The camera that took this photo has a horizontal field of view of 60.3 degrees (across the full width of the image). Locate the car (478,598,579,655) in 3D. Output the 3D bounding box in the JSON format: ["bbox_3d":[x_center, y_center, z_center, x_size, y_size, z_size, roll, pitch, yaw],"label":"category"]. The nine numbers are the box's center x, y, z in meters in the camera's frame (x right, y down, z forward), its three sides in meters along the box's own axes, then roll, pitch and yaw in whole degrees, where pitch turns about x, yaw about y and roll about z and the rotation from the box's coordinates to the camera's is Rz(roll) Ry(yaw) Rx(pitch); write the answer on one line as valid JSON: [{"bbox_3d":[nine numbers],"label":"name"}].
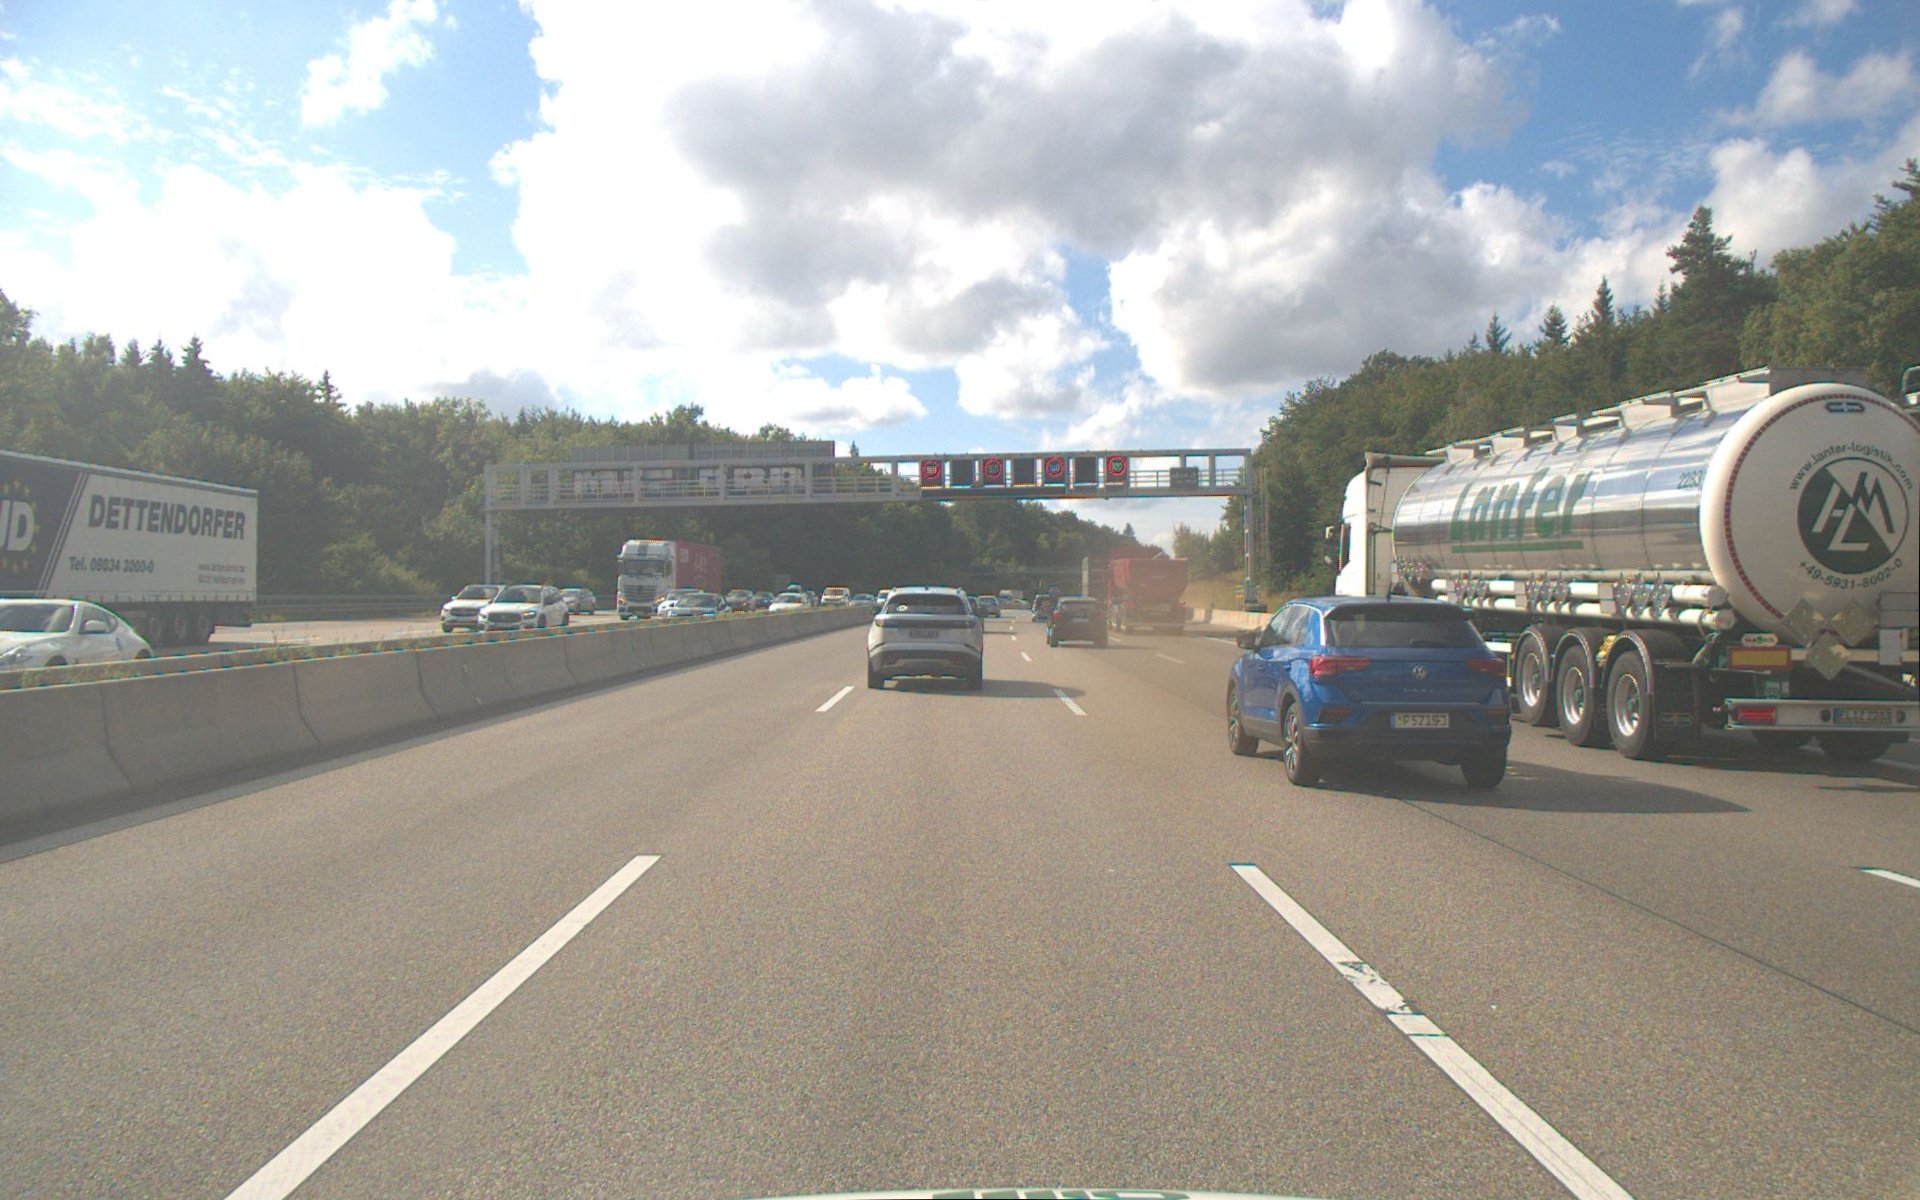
[{"bbox_3d":[-13.098,0.760,50.479,1.673,1.622,4.944,1,0,1],"label":"car"}]

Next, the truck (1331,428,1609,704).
[{"bbox_3d":[7.895,-0.498,26.427,2.594,3.890,6.082,0,0,0],"label":"truck"}]

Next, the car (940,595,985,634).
[{"bbox_3d":[0.127,0.573,68.014,1.785,1.573,4.000,1,0,0],"label":"car"}]

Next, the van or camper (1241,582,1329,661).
[{"bbox_3d":[10.119,0.619,51.824,1.785,2.348,4.938,0,0,0],"label":"van or camper"}]

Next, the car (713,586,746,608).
[{"bbox_3d":[-15.647,-0.193,112.340,1.604,1.440,4.001,1,0,1],"label":"car"}]

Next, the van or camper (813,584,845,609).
[{"bbox_3d":[-10.288,-0.265,130.517,1.823,1.882,5.157,1,0,3],"label":"van or camper"}]

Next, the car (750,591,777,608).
[{"bbox_3d":[-17.663,-0.018,148.572,1.666,1.466,4.708,1,0,2],"label":"car"}]

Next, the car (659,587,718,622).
[{"bbox_3d":[-12.358,0.192,75.568,1.819,1.552,4.995,1,0,0],"label":"car"}]

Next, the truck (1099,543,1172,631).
[{"bbox_3d":[7.909,-0.583,75.084,2.654,3.783,5.817,1,0,0],"label":"truck"}]

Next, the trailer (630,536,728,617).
[{"bbox_3d":[-15.557,-1.226,92.776,2.682,4.178,13.420,1,0,2],"label":"trailer"}]

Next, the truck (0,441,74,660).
[{"bbox_3d":[-19.981,-0.961,31.191,3.250,4.178,6.223,1,0,-2],"label":"truck"}]

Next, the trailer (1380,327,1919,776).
[{"bbox_3d":[7.870,-0.453,20.086,2.594,3.833,11.860,0,0,0],"label":"trailer"}]

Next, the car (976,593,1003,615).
[{"bbox_3d":[2.083,0.286,114.377,1.784,1.483,4.001,1,0,2],"label":"car"}]

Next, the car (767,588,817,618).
[{"bbox_3d":[-8.476,0.135,83.875,1.733,1.467,4.853,1,0,3],"label":"car"}]

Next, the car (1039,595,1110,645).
[{"bbox_3d":[3.524,0.584,51.427,1.785,1.483,3.998,1,0,-2],"label":"car"}]

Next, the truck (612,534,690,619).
[{"bbox_3d":[-15.847,-1.176,85.272,2.682,4.178,5.766,1,0,2],"label":"truck"}]

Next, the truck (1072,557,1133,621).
[{"bbox_3d":[9.346,-0.727,109.750,3.055,4.003,10.410,1,0,0],"label":"truck"}]

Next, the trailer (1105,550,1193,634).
[{"bbox_3d":[7.902,-0.339,70.287,2.654,3.288,9.733,1,0,0],"label":"trailer"}]

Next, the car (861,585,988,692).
[{"bbox_3d":[-0.597,0.585,28.566,1.965,1.644,5.300,1,0,-1],"label":"car"}]

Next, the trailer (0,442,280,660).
[{"bbox_3d":[-20.220,-0.982,38.479,3.250,4.178,14.150,1,0,-2],"label":"trailer"}]

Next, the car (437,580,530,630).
[{"bbox_3d":[-16.759,0.163,58.415,1.757,1.646,5.045,1,0,0],"label":"car"}]

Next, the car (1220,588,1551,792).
[{"bbox_3d":[3.621,0.696,14.935,1.737,1.557,4.456,0,0,-2],"label":"car"}]

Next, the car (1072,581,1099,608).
[{"bbox_3d":[9.267,-0.397,122.316,1.854,1.889,4.102,1,0,3],"label":"car"}]

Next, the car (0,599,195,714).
[{"bbox_3d":[-10.917,0.591,19.563,1.775,1.181,4.513,1,0,-2],"label":"car"}]

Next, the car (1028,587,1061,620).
[{"bbox_3d":[4.995,0.172,97.861,1.854,1.889,4.102,1,0,3],"label":"car"}]

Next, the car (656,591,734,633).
[{"bbox_3d":[-9.262,0.382,58.162,1.953,1.386,4.620,1,0,0],"label":"car"}]
